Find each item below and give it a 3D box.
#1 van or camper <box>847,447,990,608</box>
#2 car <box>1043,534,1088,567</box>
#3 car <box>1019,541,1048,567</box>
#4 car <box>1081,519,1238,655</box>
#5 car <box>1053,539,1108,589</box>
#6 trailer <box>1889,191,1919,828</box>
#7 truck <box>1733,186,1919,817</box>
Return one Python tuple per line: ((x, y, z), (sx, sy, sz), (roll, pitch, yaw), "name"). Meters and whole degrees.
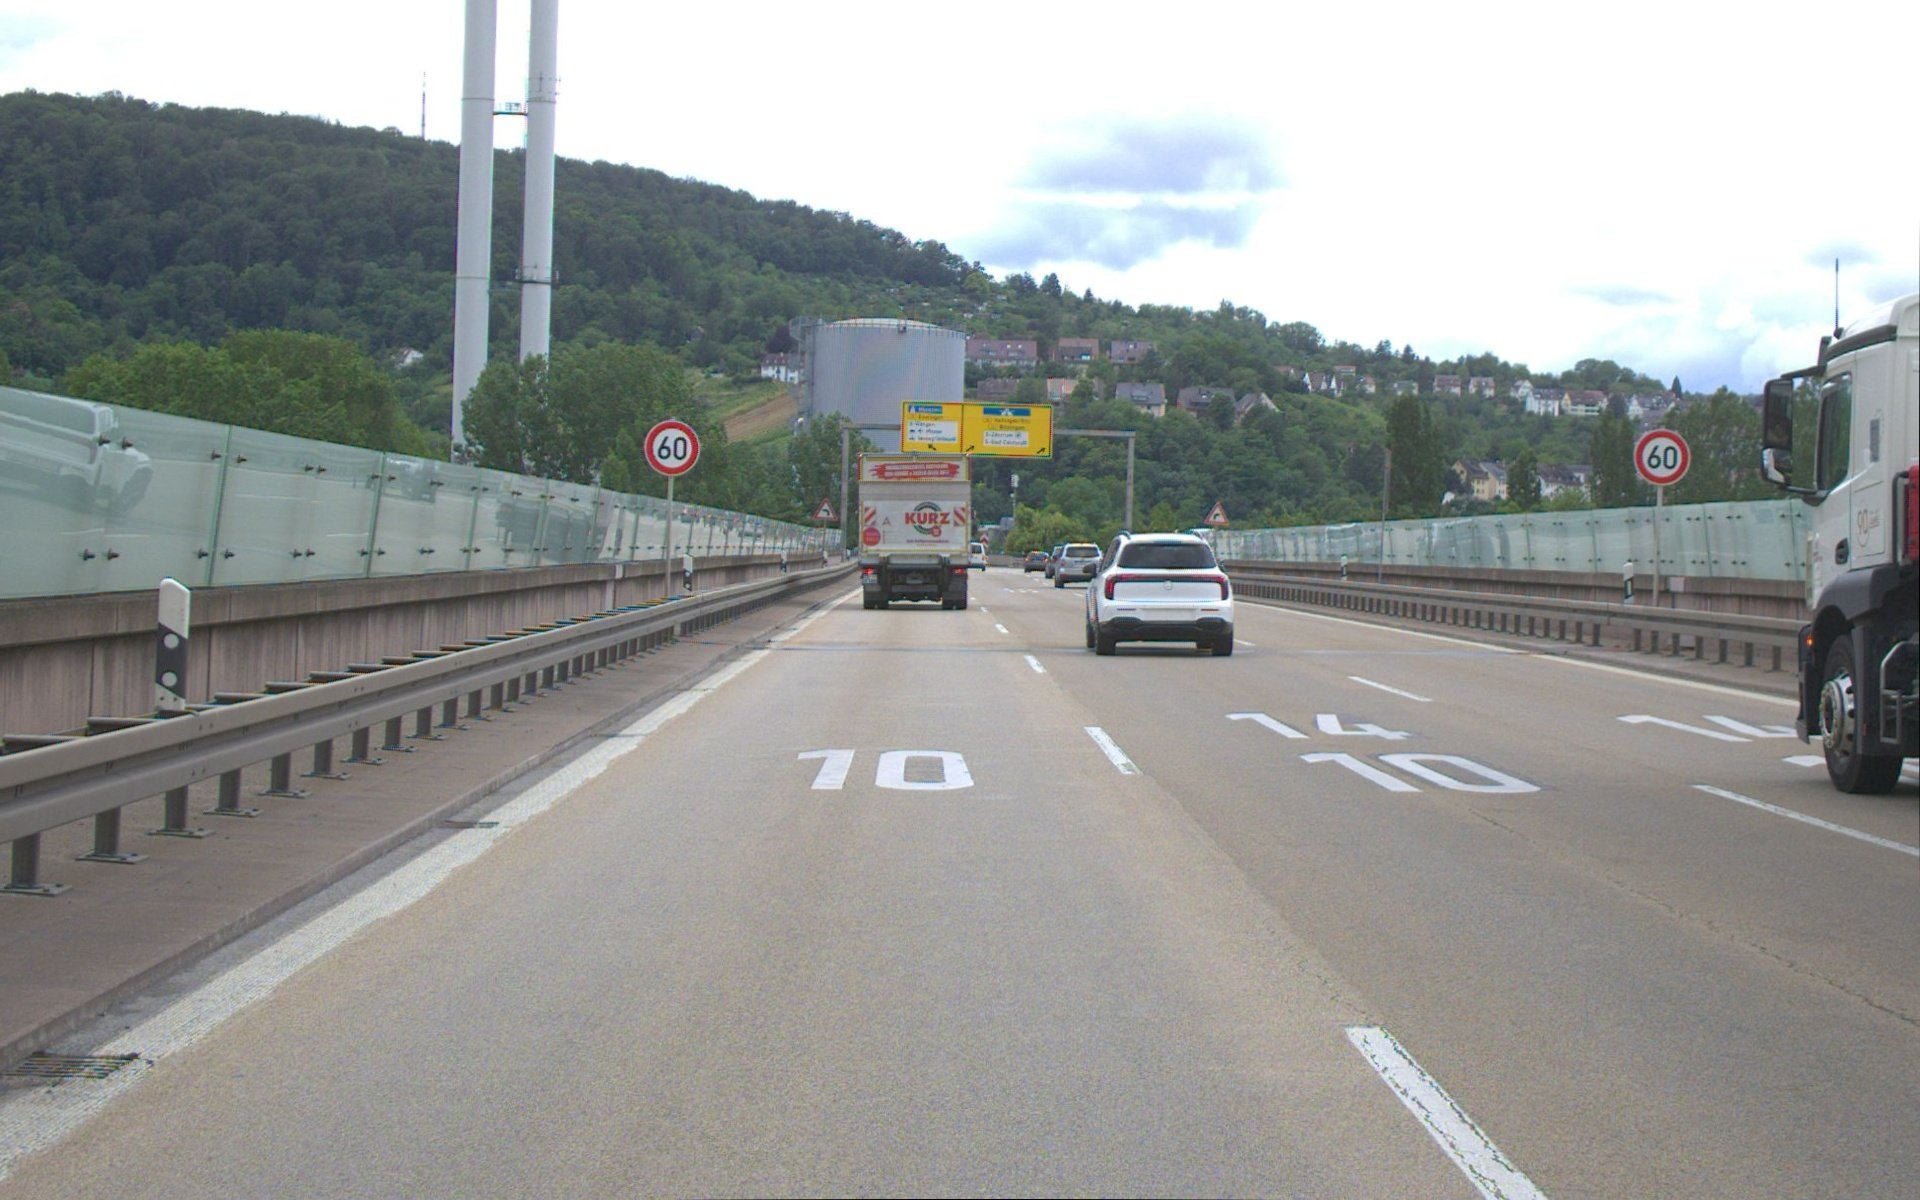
((-0.892, -1.676, 80.964), (3.122, 3.567, 8.550), (1, 1, 1), "van or camper")
((4.788, -2.250, 155.643), (1.924, 1.429, 4.113), (1, 1, 3), "car")
((5.120, -3.205, 239.853), (1.924, 1.779, 4.113), (1, 1, 0), "car")
((2.734, -0.220, 47.939), (1.924, 1.779, 4.113), (1, 1, 0), "car")
((4.489, -1.360, 128.836), (1.924, 1.779, 4.113), (1, 1, 1), "car")
((6.656, -0.423, 13.976), (2.650, 3.531, 11.220), (1, 1, 0), "trailer")
((6.642, -0.574, 21.107), (2.631, 3.502, 4.904), (1, 1, 0), "truck")
